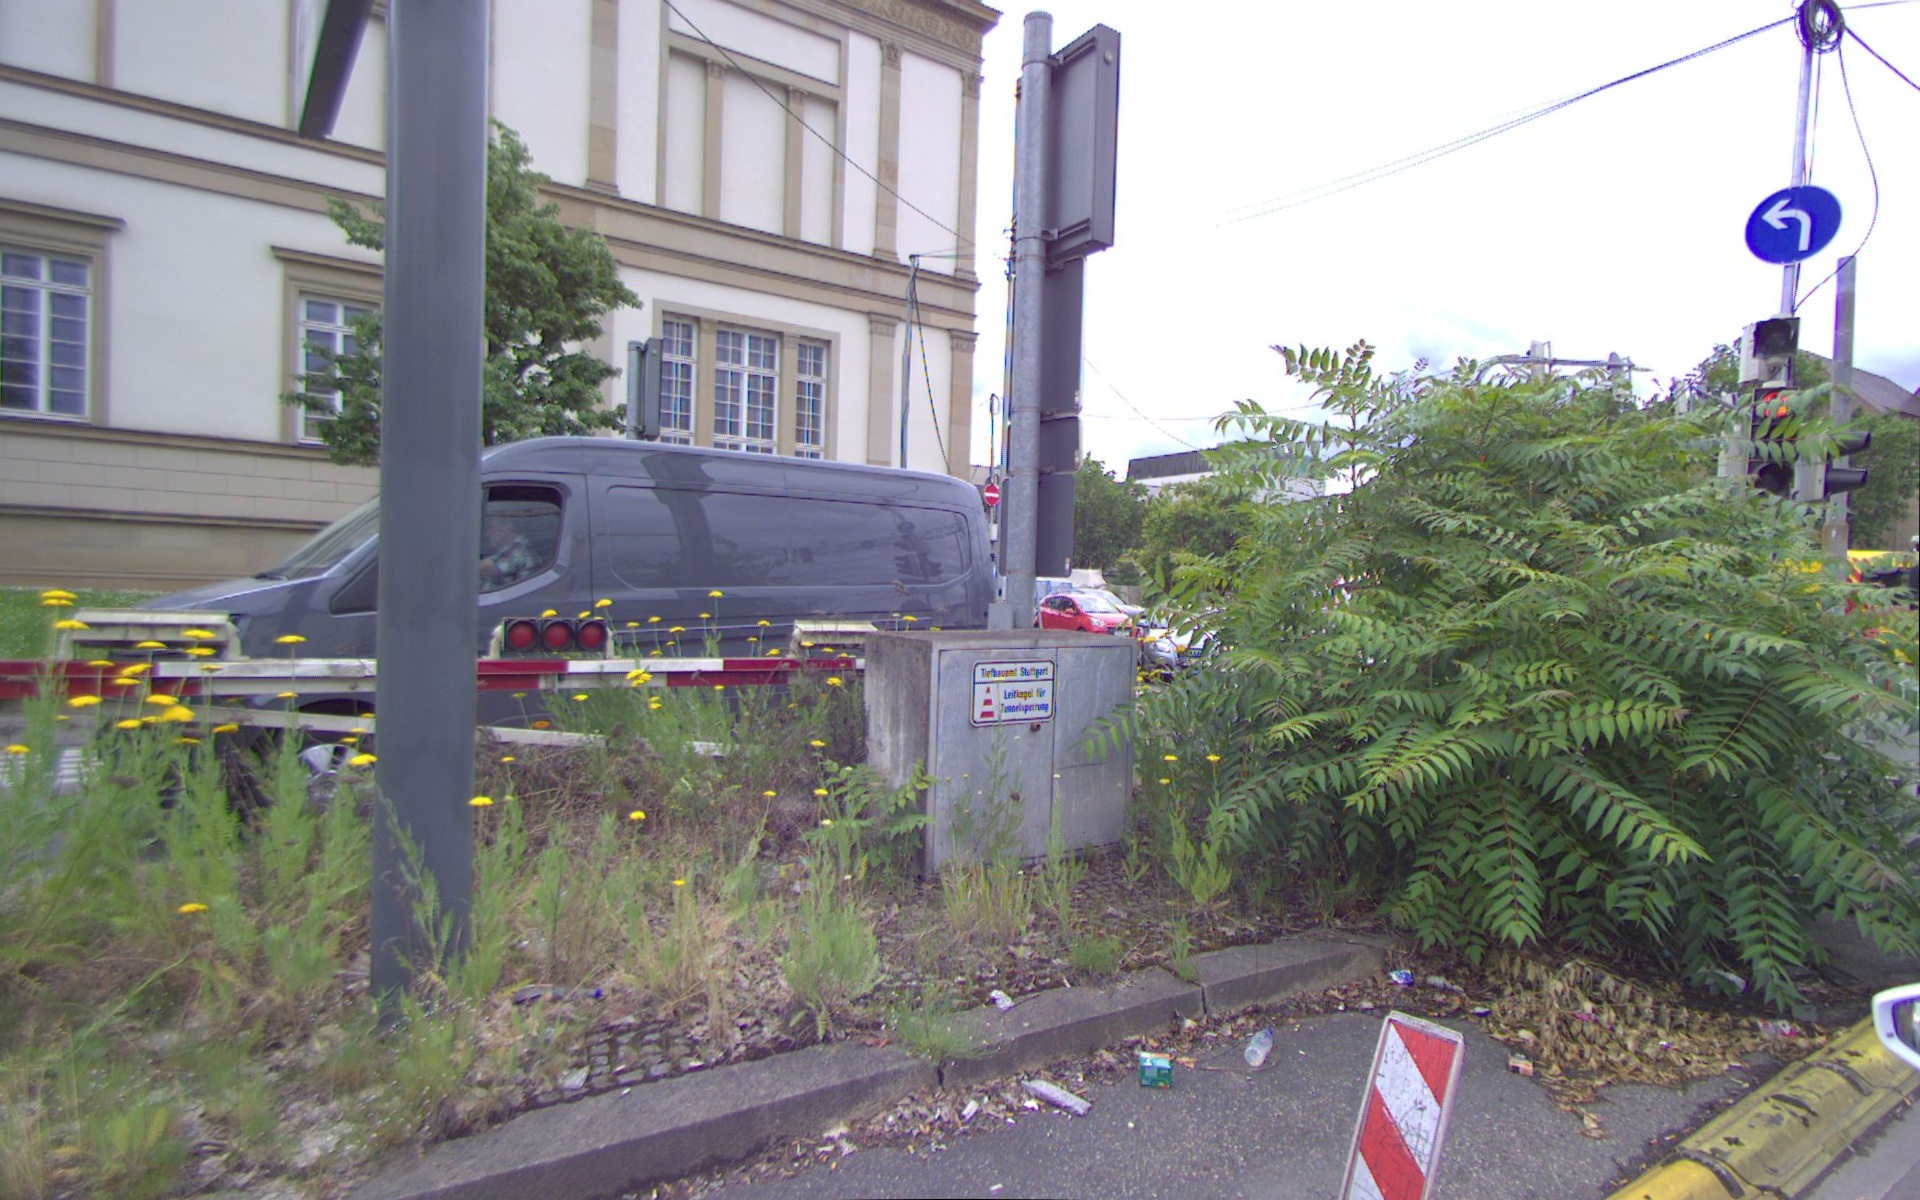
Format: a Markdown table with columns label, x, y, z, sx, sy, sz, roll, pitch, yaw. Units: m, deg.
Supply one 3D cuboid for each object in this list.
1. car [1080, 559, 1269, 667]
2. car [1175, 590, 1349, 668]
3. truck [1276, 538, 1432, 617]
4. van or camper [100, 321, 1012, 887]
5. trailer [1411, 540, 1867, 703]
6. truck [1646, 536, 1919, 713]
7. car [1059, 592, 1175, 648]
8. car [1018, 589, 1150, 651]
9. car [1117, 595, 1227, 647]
| label | x | y | z | sx | sy | sz | roll | pitch | yaw |
| --- | --- | --- | --- | --- | --- | --- | --- | --- | --- |
| car | 3.780 | 0.223 | 18.468 | 1.803 | 1.728 | 3.988 | 2 | 0 | -14 |
| car | 7.346 | 0.668 | 24.810 | 1.886 | 1.763 | 3.972 | 2 | 0 | -27 |
| truck | 27.023 | -1.506 | 69.439 | 3.090 | 5.026 | 9.628 | 2 | 0 | -41 |
| van or camper | -2.444 | 0.039 | 7.590 | 6.043 | 2.645 | 2.131 | 1 | 0 | -45 |
| trailer | 13.550 | 0.357 | 20.836 | 2.831 | 2.761 | 7.308 | 2 | 0 | -32 |
| truck | 15.300 | 0.400 | 17.983 | 2.830 | 2.761 | 4.183 | 2 | 0 | -31 |
| car | 5.233 | 0.650 | 33.993 | 1.886 | 1.763 | 3.972 | 2 | 0 | -27 |
| car | 3.512 | 0.537 | 29.114 | 1.886 | 1.630 | 3.971 | 2 | 0 | -27 |
| car | 8.052 | 0.763 | 38.445 | 1.889 | 1.763 | 3.964 | 2 | 1 | -32 |
